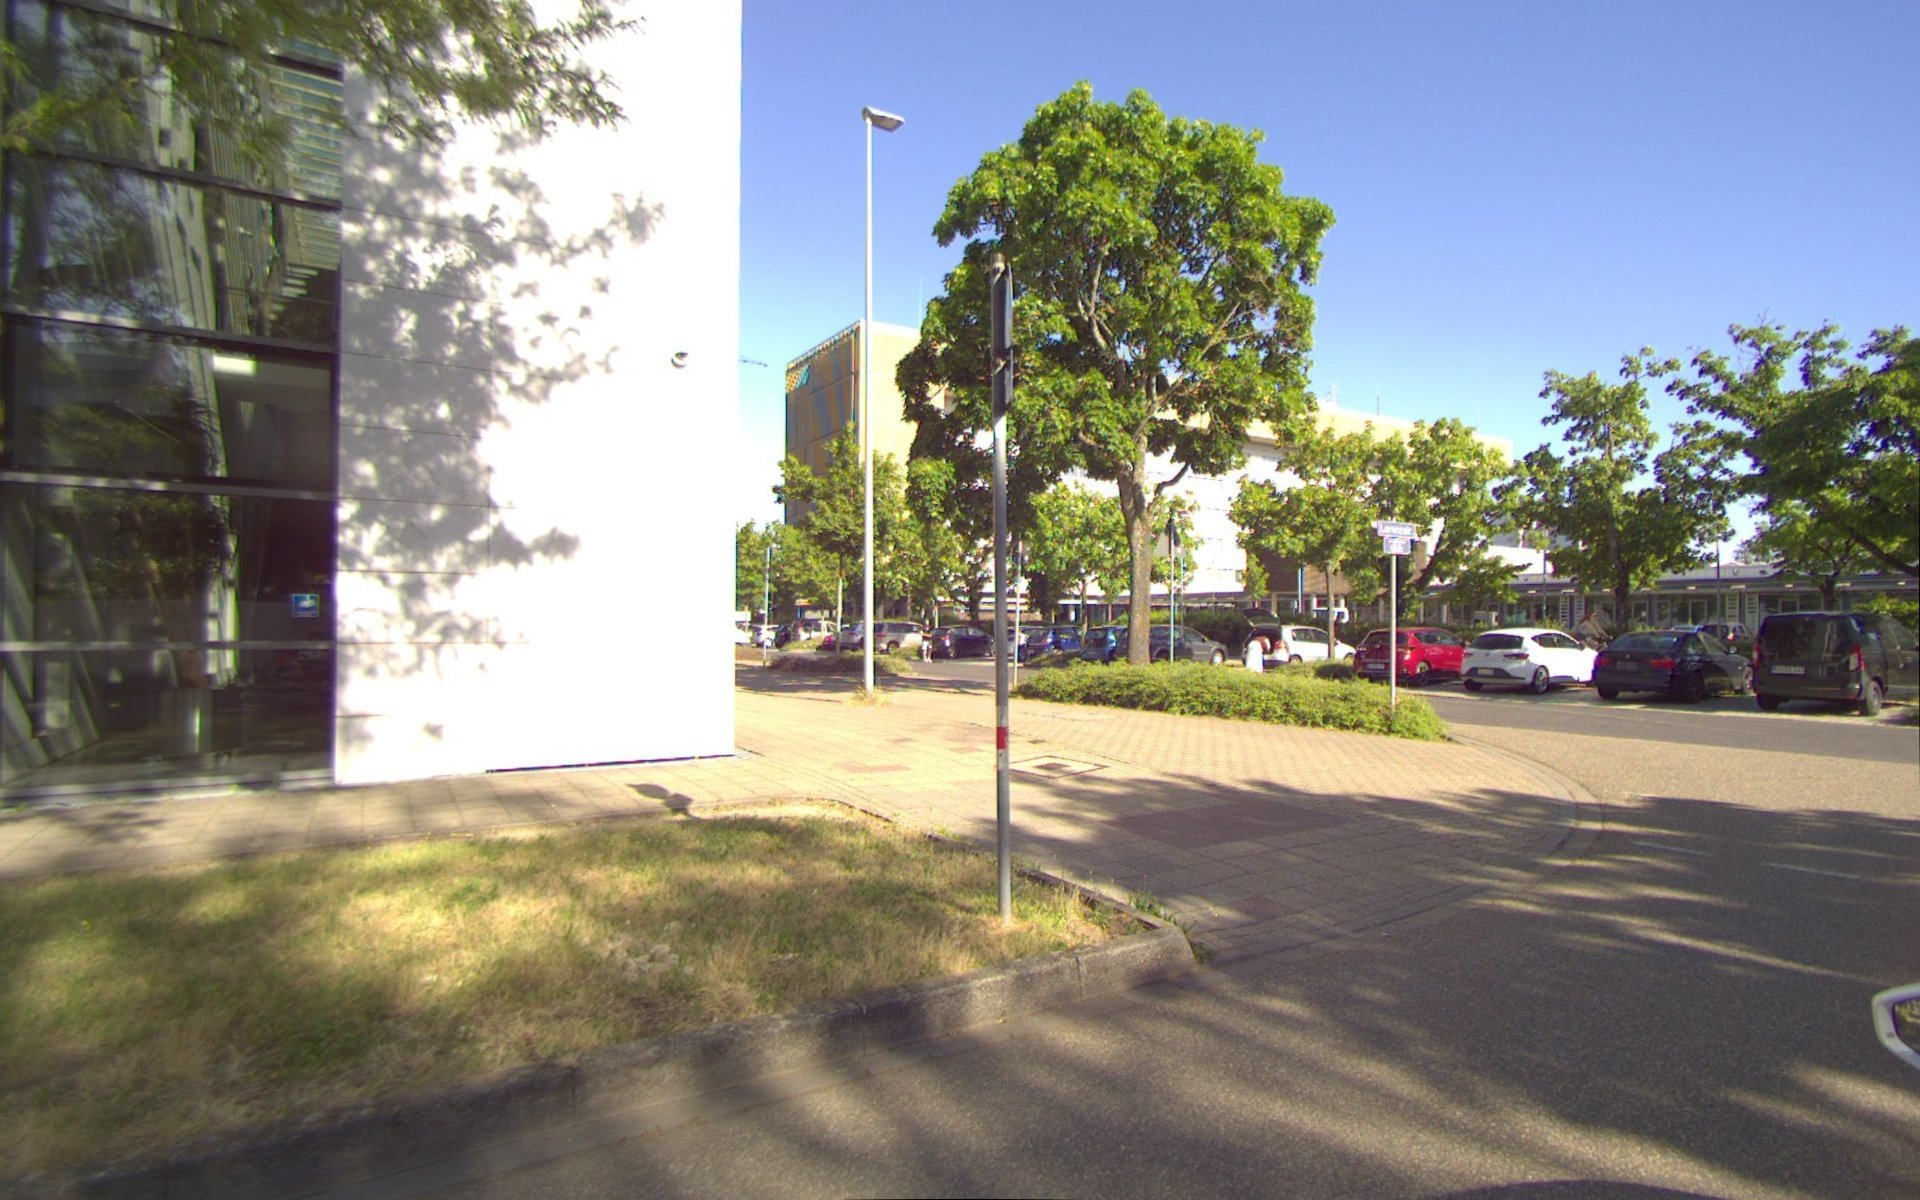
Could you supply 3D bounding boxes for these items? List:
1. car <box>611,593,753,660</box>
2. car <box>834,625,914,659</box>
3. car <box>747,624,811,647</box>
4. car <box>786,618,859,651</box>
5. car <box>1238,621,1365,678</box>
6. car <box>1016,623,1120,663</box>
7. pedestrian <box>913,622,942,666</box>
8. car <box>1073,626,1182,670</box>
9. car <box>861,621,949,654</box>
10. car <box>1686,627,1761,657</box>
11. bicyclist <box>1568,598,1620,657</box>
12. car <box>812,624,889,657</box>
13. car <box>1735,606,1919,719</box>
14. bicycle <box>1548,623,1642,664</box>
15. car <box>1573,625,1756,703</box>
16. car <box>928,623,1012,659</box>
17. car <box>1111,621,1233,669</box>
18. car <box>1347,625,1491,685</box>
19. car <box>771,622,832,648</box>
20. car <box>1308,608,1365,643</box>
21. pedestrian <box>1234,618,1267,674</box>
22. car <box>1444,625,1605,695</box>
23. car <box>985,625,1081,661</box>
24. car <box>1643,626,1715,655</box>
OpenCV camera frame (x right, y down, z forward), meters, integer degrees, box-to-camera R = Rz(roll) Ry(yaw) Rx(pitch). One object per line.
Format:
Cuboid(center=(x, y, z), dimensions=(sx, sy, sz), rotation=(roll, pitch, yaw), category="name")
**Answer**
Cuboid(center=(-11.428, 1.129, 41.431), dimensions=(5.205, 2.450, 2.106), rotation=(4, -3, -30), category="car")
Cuboid(center=(-4.622, 2.264, 54.344), dimensions=(3.870, 1.718, 1.923), rotation=(1, 0, -33), category="car")
Cuboid(center=(-12.421, 2.450, 69.047), dimensions=(4.026, 1.444, 1.728), rotation=(0, -1, -30), category="car")
Cuboid(center=(-8.588, 2.143, 62.966), dimensions=(4.088, 1.953, 1.961), rotation=(1, 0, -33), category="car")
Cuboid(center=(10.492, 1.476, 30.781), dimensions=(3.870, 1.599, 1.664), rotation=(1, 0, -33), category="car")
Cuboid(center=(4.374, 1.719, 40.689), dimensions=(3.861, 1.517, 1.828), rotation=(0, -1, -30), category="car")
Cuboid(center=(-1.378, 1.844, 42.489), dimensions=(0.713, 1.795, 1.158), rotation=(-1, -1, -32), category="pedestrian")
Cuboid(center=(6.134, 1.698, 36.688), dimensions=(3.870, 1.487, 1.606), rotation=(1, 0, -33), category="car")
Cuboid(center=(-2.846, 1.944, 52.478), dimensions=(4.290, 1.629, 1.894), rotation=(0, -1, -35), category="car")
Cuboid(center=(41.218, 2.229, 54.214), dimensions=(3.860, 1.517, 1.828), rotation=(0, -1, -29), category="car")
Cuboid(center=(16.945, 0.718, 26.861), dimensions=(0.589, 1.544, 1.006), rotation=(1, 0, -32), category="bicyclist")
Cuboid(center=(-6.116, 2.254, 56.379), dimensions=(3.870, 1.718, 1.923), rotation=(1, 0, -33), category="car")
Cuboid(center=(16.624, 1.077, 18.899), dimensions=(4.120, 1.871, 1.864), rotation=(-1, -1, -31), category="car")
Cuboid(center=(16.942, 1.136, 26.860), dimensions=(0.589, 1.009, 2.070), rotation=(1, 0, -32), category="bicycle")
Cuboid(center=(15.088, 1.296, 21.459), dimensions=(4.123, 1.425, 1.813), rotation=(-1, -1, -33), category="car")
Cuboid(center=(0.460, 1.864, 45.932), dimensions=(3.427, 1.508, 1.731), rotation=(0, -2, -33), category="car")
Cuboid(center=(7.303, 1.506, 34.482), dimensions=(4.154, 1.540, 1.721), rotation=(0, -1, -33), category="car")
Cuboid(center=(12.119, 1.393, 26.487), dimensions=(3.870, 1.445, 1.657), rotation=(1, 0, -33), category="car")
Cuboid(center=(-10.287, 2.260, 65.194), dimensions=(3.579, 1.570, 1.691), rotation=(1, 0, -33), category="car")
Cuboid(center=(28.106, 1.894, 75.026), dimensions=(3.601, 2.524, 2.216), rotation=(0, -1, -29), category="car")
Cuboid(center=(8.534, 1.338, 29.524), dimensions=(0.752, 1.600, 0.673), rotation=(1, 0, -3), category="pedestrian")
Cuboid(center=(13.516, 1.373, 24.012), dimensions=(3.870, 1.456, 1.792), rotation=(-1, 0, -33), category="car")
Cuboid(center=(3.114, 1.816, 42.795), dimensions=(3.700, 1.435, 1.828), rotation=(0, -1, -30), category="car")
Cuboid(center=(40.071, 2.222, 55.984), dimensions=(3.860, 1.517, 1.828), rotation=(0, -1, -29), category="car")
